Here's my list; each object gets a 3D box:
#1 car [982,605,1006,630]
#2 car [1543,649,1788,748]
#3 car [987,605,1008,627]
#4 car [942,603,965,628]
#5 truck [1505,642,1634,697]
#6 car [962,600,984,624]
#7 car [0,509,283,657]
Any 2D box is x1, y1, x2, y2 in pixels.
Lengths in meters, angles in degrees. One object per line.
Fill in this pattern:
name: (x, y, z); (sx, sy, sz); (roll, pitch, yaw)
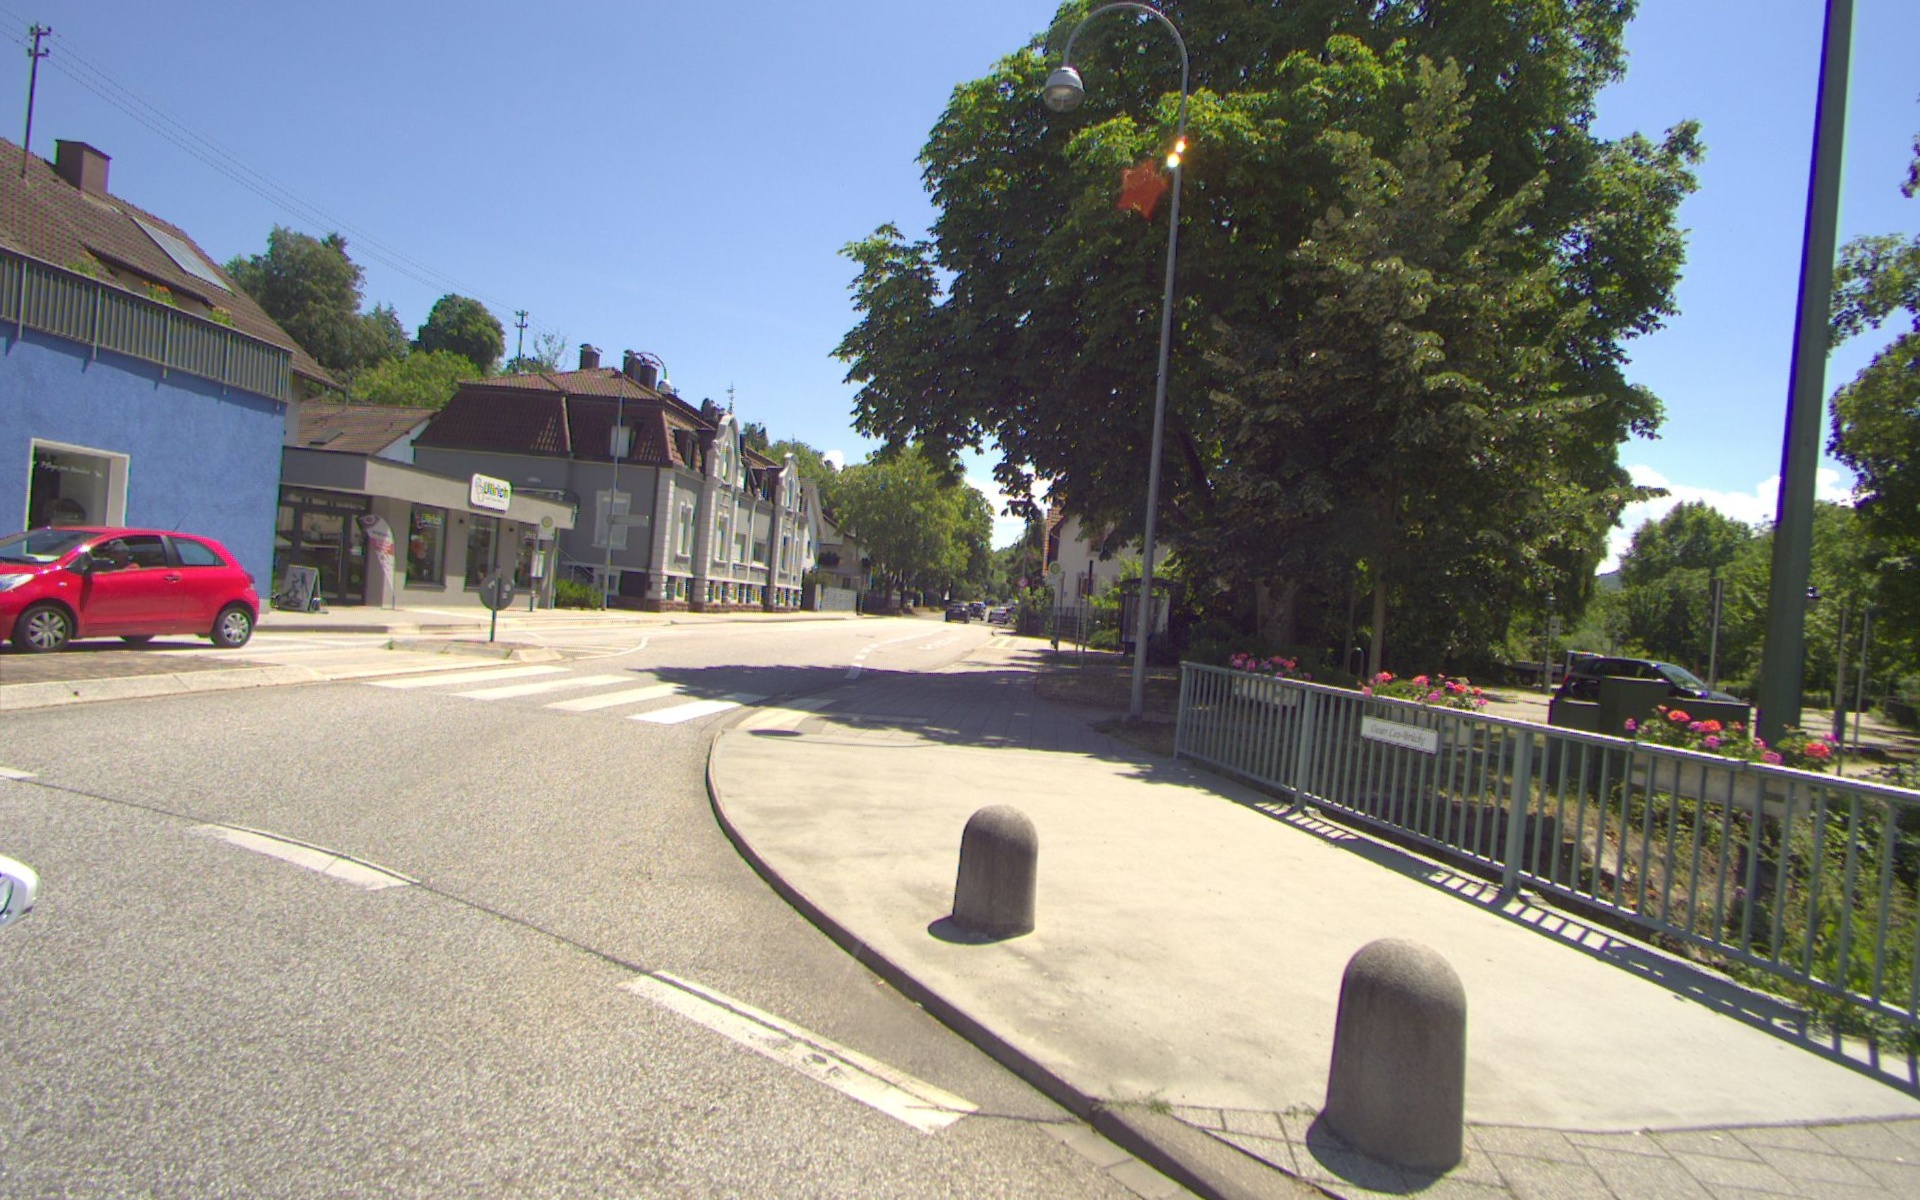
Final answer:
car: (3.271, 1.660, 95.666); (1.962, 2.037, 4.004); (6, -2, 4)
car: (15.468, 2.119, 22.295); (1.819, 1.622, 3.975); (5, 0, -26)
car: (3.969, 1.758, 106.633); (1.963, 2.037, 4.003); (6, -2, 1)
car: (-0.494, 1.276, 81.164); (1.707, 1.726, 4.003); (4, -2, 1)
truck: (35.627, 4.024, 58.882); (6.124, 2.472, 2.258); (5, -2, 37)
car: (1.318, 1.249, 101.466); (1.963, 2.037, 4.003); (6, -2, 1)
car: (-10.759, -0.181, 12.356); (1.799, 1.552, 4.001); (3, -1, 8)
